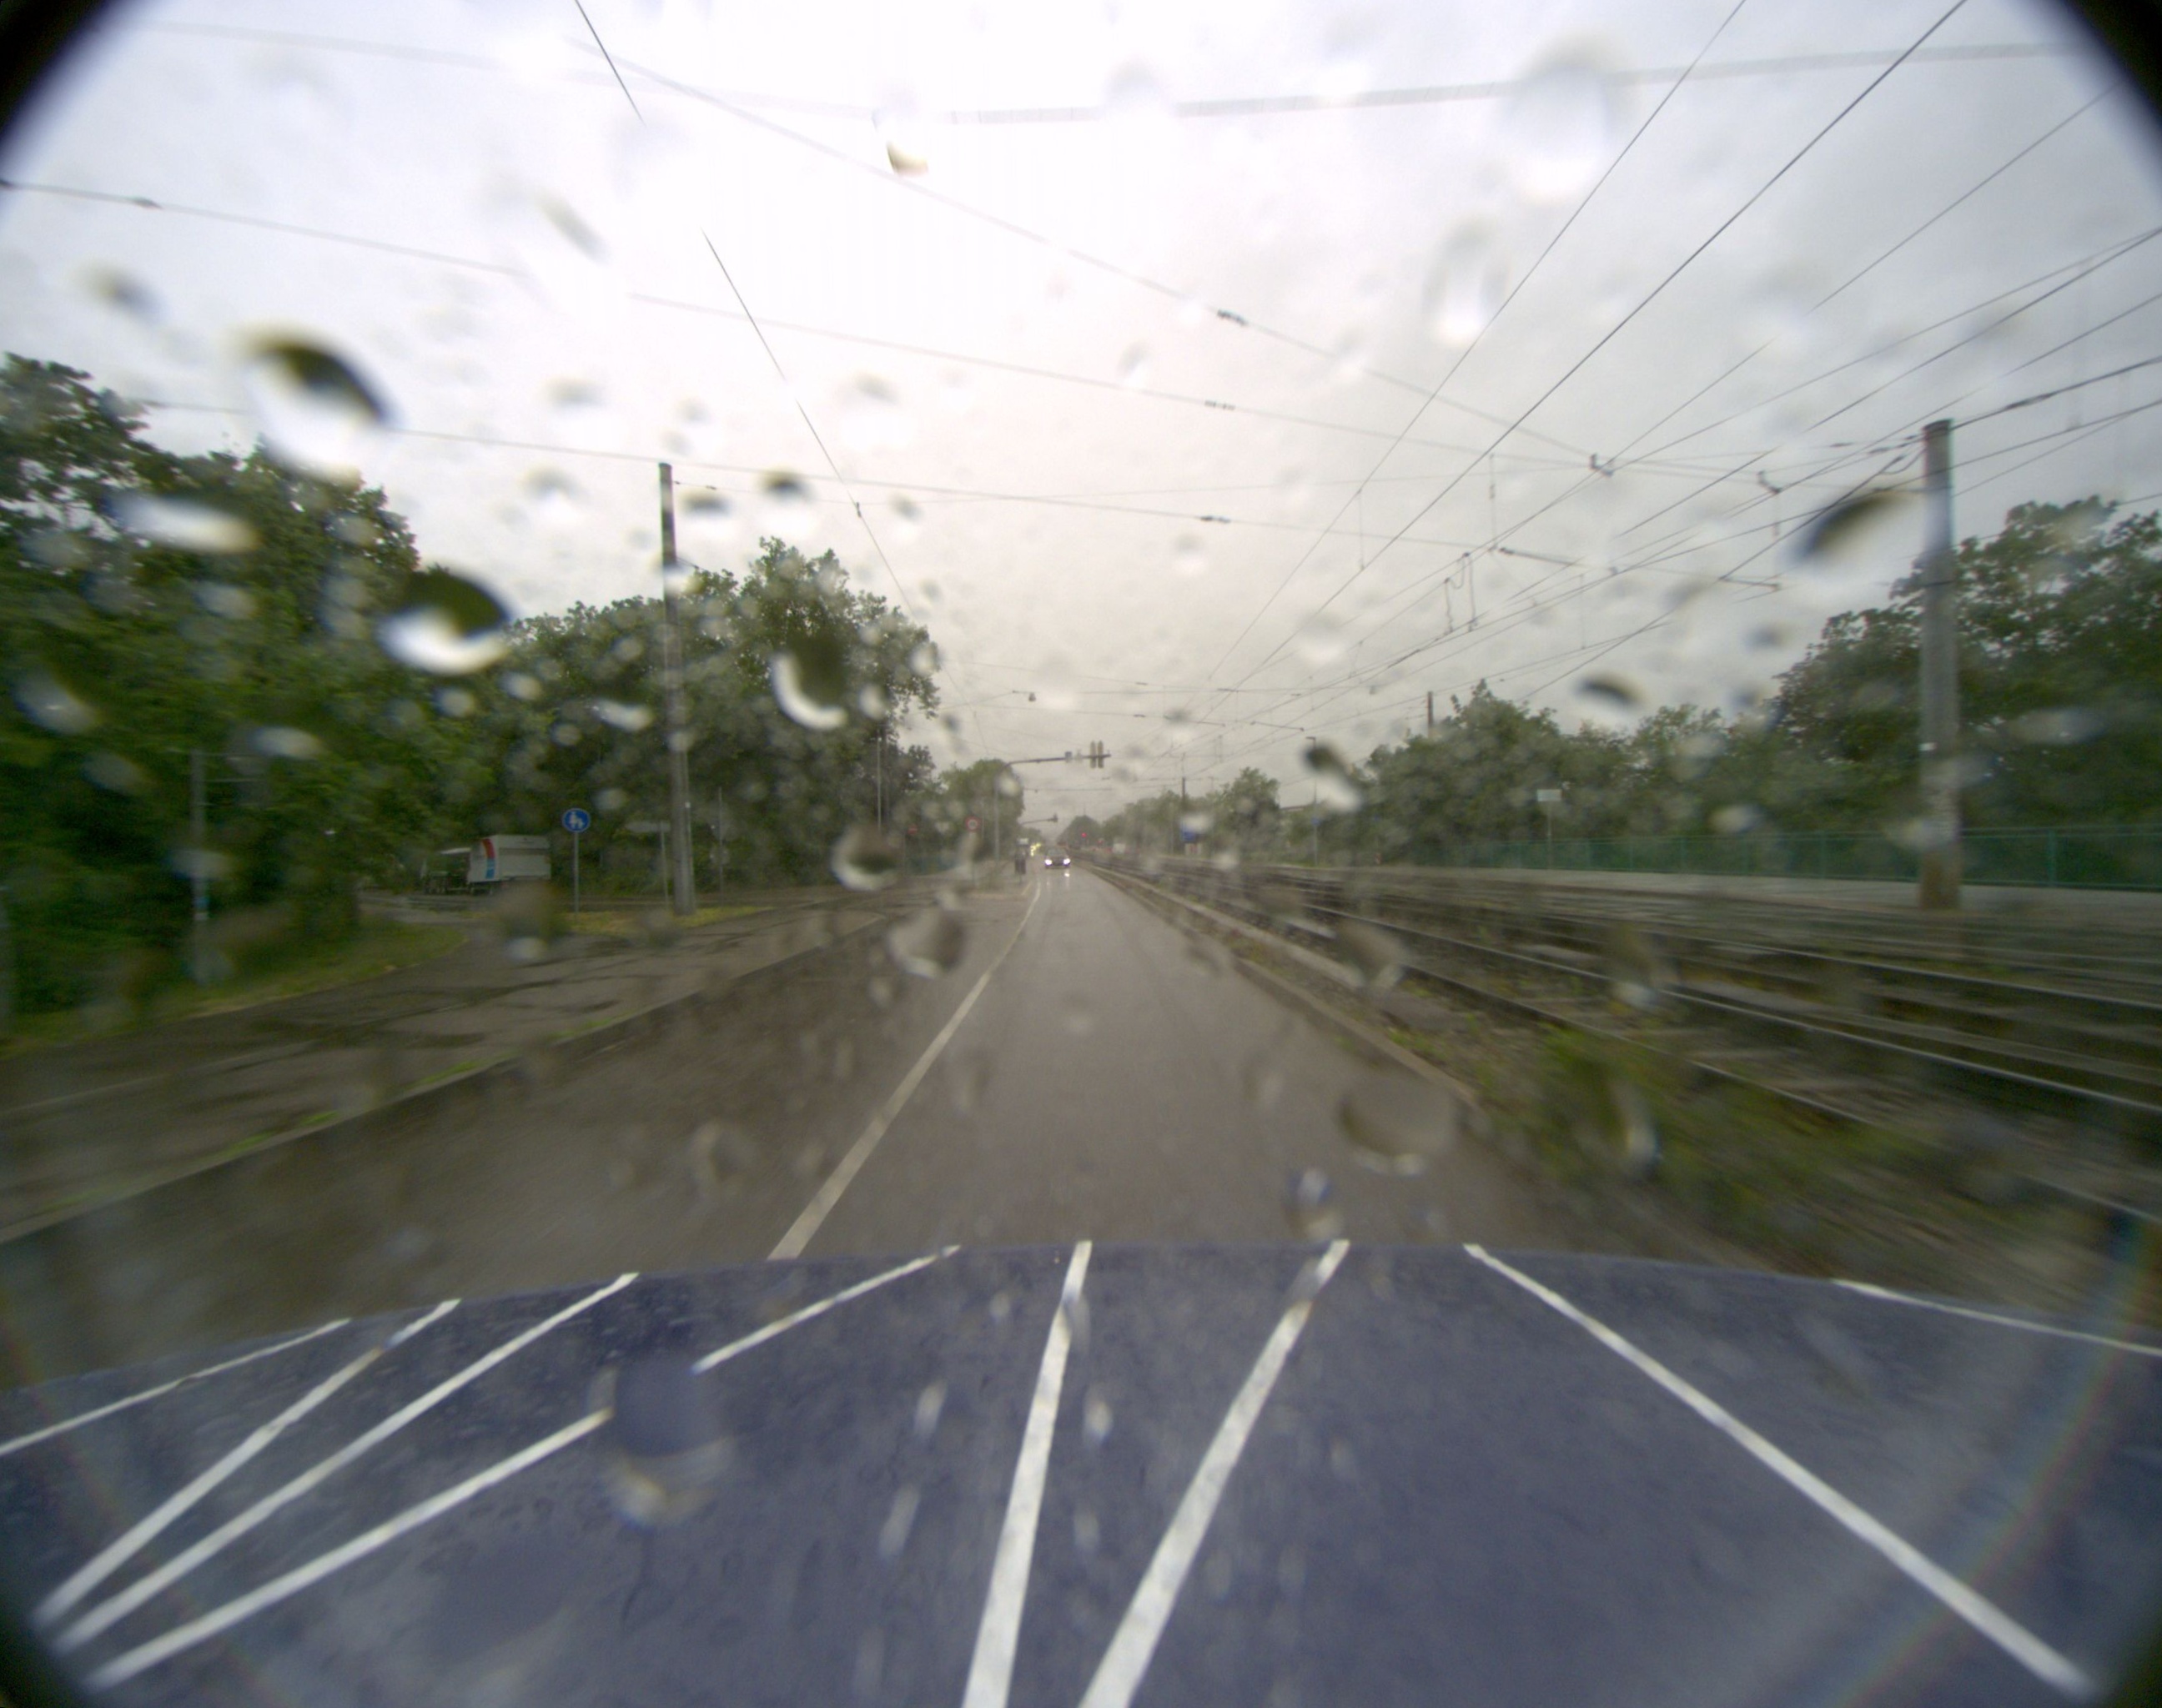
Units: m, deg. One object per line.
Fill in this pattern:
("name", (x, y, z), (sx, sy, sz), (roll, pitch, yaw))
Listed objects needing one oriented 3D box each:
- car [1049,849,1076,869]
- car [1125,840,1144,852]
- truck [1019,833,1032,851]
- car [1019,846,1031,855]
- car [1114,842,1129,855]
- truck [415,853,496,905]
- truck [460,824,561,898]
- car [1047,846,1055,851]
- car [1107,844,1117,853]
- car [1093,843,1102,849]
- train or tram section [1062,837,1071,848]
("car", (-1.569, 0.416, 61.892), (1.999, 1.497, 4.194), (-3, 0, -4))
("car", (7.791, -1.226, 111.483), (1.999, 1.639, 5.369), (-3, 1, -4))
("truck", (-12.281, -2.568, 168.386), (2.568, 3.847, 7.843), (-3, 0, -4))
("car", (-9.625, -0.611, 130.953), (1.999, 1.395, 4.194), (-3, 0, -4))
("car", (6.904, -0.985, 130.119), (1.999, 2.032, 5.025), (-3, 1, -4))
("truck", (-44.881, 1.755, 54.391), (8.517, 3.340, 2.547), (-1, 2, 38))
("truck", (-35.513, 0.430, 47.165), (8.349, 4.209, 3.022), (-1, 2, 40))
("car", (-8.969, -1.621, 225.199), (1.999, 1.514, 4.954), (-3, 2, -5))
("car", (6.212, -1.085, 152.750), (1.729, 1.592, 3.648), (-3, 2, -4))
("car", (5.014, -2.521, 230.038), (1.999, 1.639, 5.369), (-3, 1, -4))
("train or tram section", (-5.109, -4.149, 261.960), (2.461, 3.604, 15.097), (-3, 2, -4))
